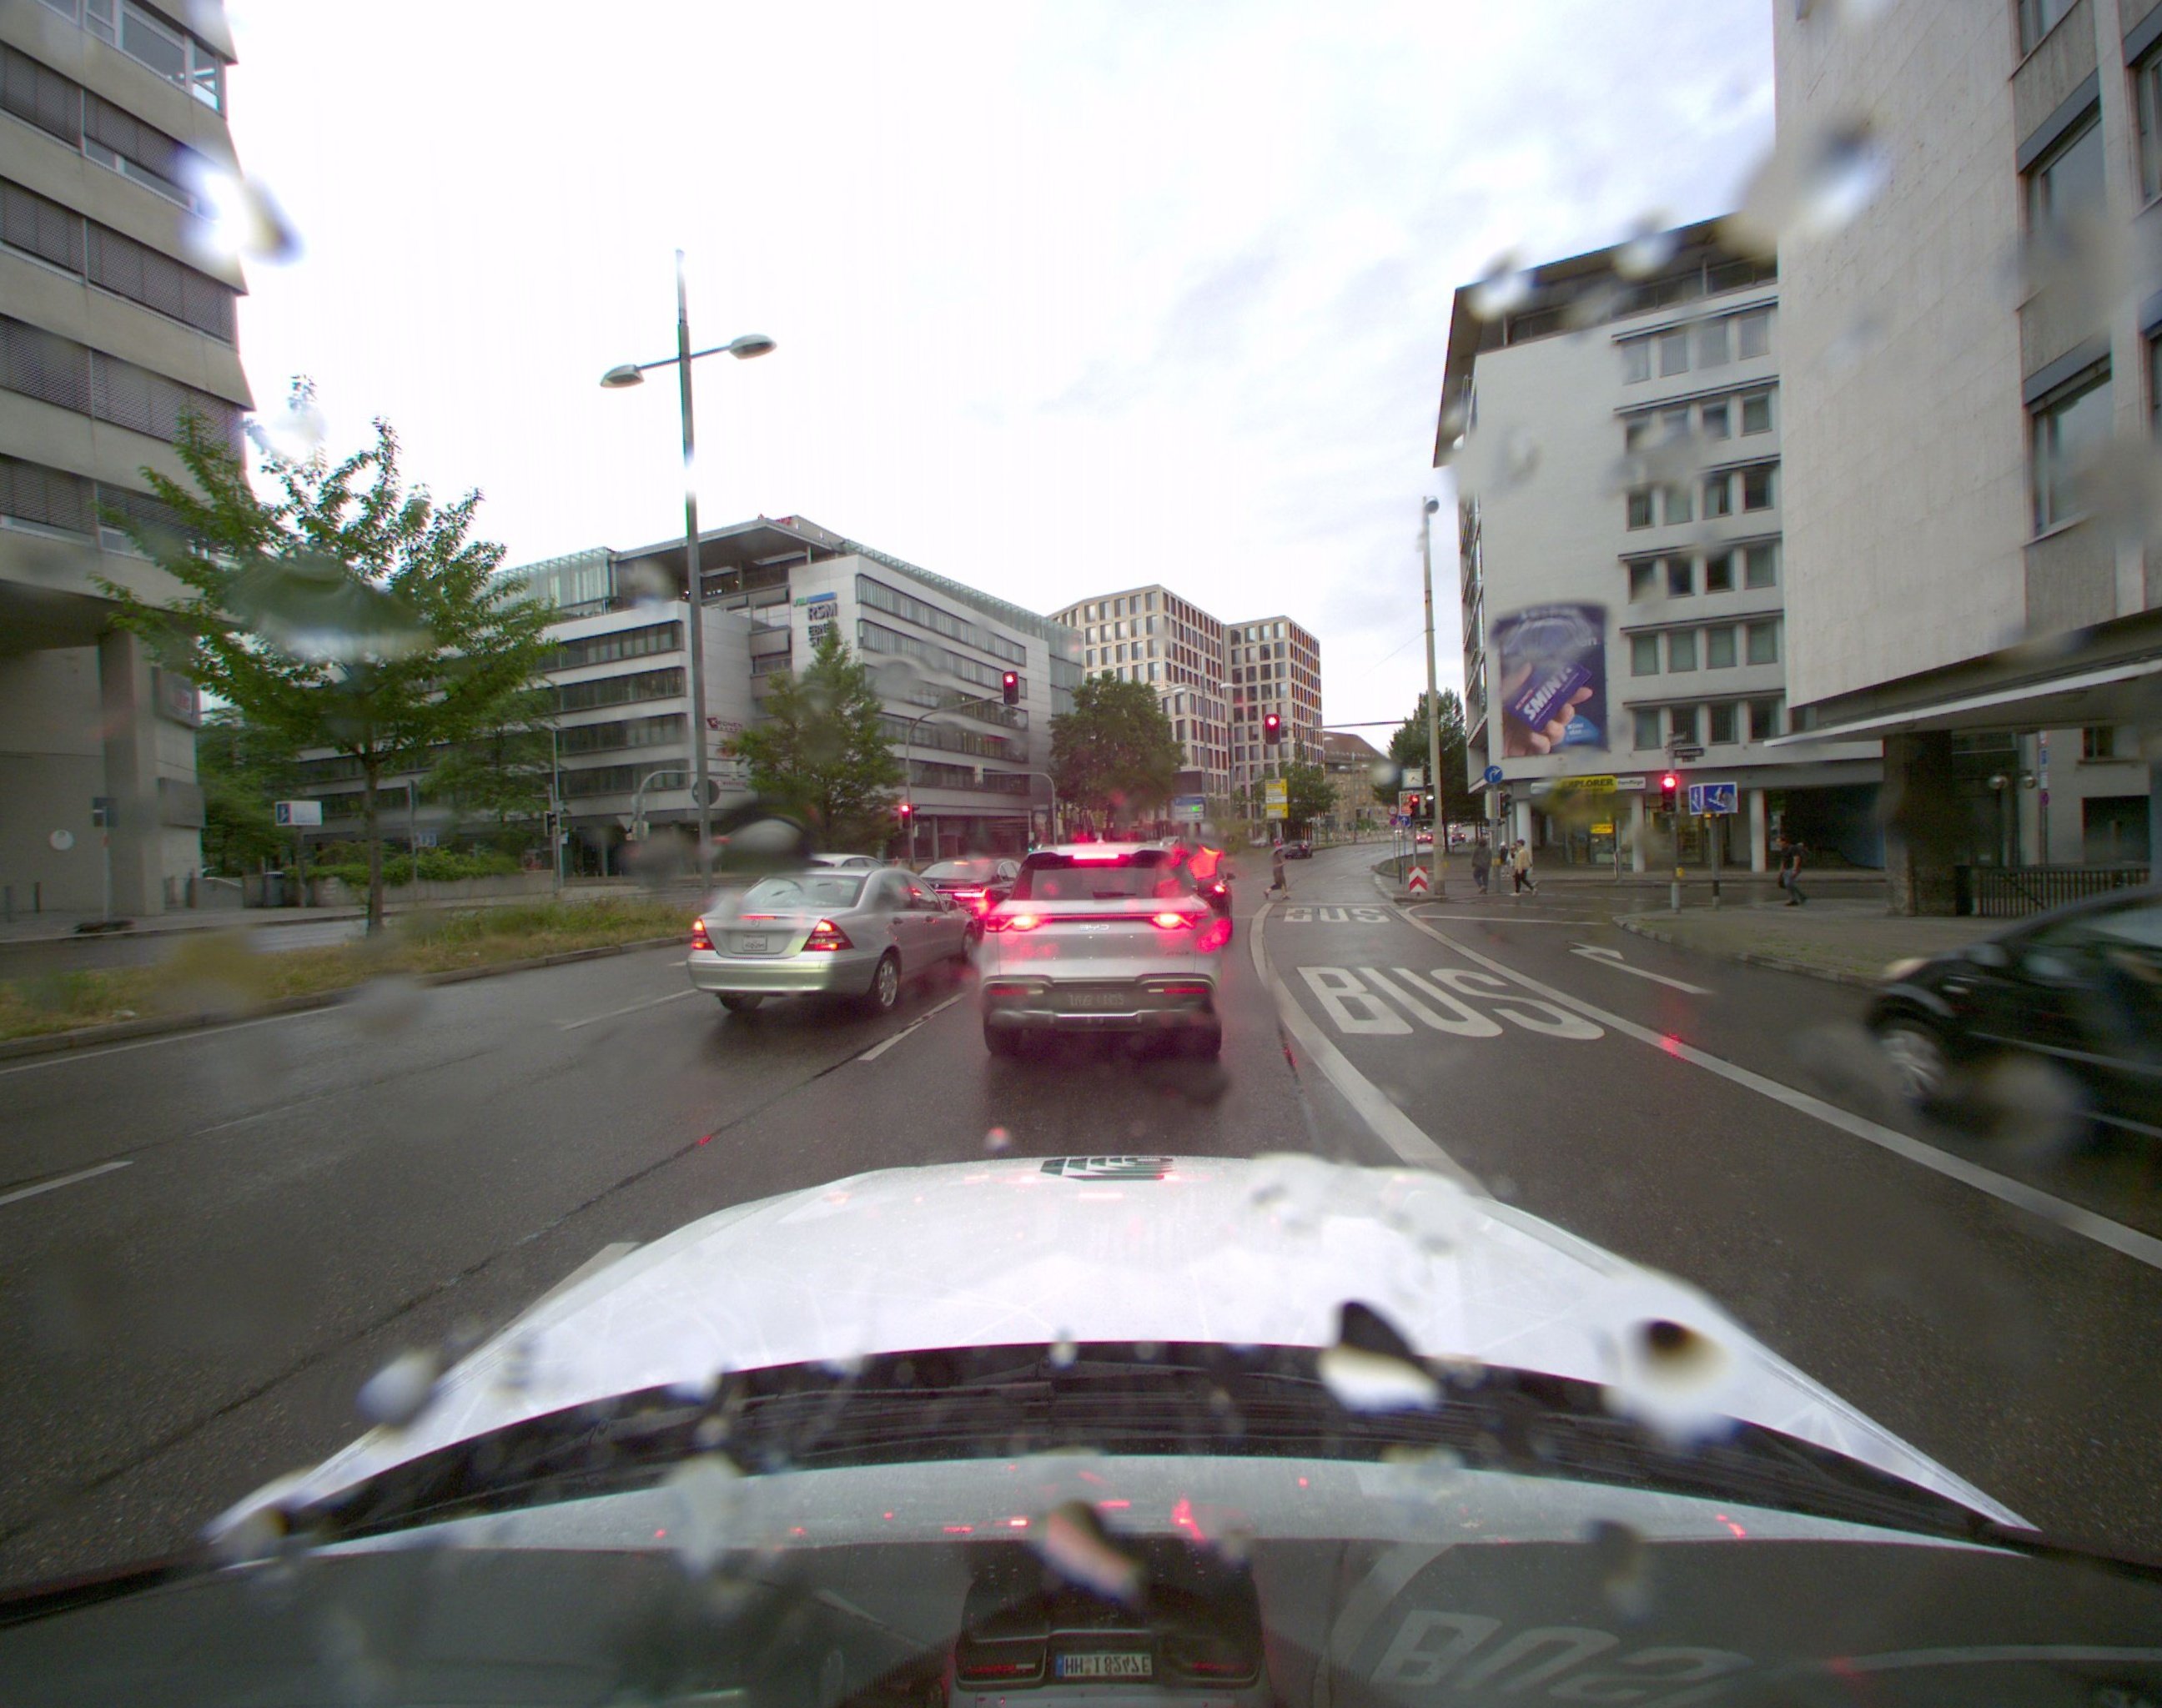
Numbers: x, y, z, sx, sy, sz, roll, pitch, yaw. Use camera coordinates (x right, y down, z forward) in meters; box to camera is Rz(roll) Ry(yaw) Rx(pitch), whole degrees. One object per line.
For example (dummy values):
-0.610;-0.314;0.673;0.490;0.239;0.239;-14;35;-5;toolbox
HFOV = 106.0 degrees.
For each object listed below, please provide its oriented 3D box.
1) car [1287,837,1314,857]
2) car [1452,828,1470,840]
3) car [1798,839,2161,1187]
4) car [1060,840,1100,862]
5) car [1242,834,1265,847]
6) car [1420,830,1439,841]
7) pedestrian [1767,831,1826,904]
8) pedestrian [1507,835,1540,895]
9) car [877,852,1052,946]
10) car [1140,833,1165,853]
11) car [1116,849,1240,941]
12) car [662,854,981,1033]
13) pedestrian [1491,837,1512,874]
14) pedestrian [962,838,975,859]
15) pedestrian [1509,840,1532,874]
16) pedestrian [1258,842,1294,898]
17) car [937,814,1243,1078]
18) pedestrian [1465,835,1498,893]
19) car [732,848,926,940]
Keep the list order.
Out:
18.180;-0.576;67.281;1.978;1.552;4.018;0;1;17;car
57.425;-2.949;123.000;2.027;1.765;4.384;0;1;30;car
5.490;0.673;3.726;1.653;1.473;3.491;-1;0;8;car
-0.074;-0.277;69.541;1.976;1.705;4.022;-1;2;22;car
25.244;-2.006;119.173;1.975;1.705;4.336;-1;2;29;car
48.207;-2.553;112.549;1.892;1.510;4.383;0;1;29;car
17.774;0.329;20.228;0.800;1.755;1.005;0;-1;-44;pedestrian
13.612;0.323;25.069;0.721;1.798;0.742;-1;0;17;pedestrian
-2.042;0.755;15.566;1.941;1.530;4.014;-1;0;13;car
7.986;-1.211;90.448;1.723;2.161;4.516;0;0;20;car
2.036;0.701;15.968;1.941;1.530;4.014;-1;0;13;car
-2.535;0.785;9.163;1.672;1.486;4.207;-1;0;9;car
19.070;0.077;36.947;0.721;1.668;0.694;-1;-1;17;pedestrian
-9.561;-0.456;69.162;0.721;1.727;0.930;-1;0;23;pedestrian
19.698;0.141;36.513;0.721;1.524;0.763;-1;-1;17;pedestrian
6.183;0.489;25.840;0.920;1.738;0.729;-1;0;-3;pedestrian
0.213;0.598;7.682;1.985;1.709;4.488;-2;0;4;car
12.684;0.312;25.803;0.806;1.798;0.714;-1;0;17;pedestrian
-4.829;0.696;16.268;1.871;1.596;4.015;-1;0;14;car
